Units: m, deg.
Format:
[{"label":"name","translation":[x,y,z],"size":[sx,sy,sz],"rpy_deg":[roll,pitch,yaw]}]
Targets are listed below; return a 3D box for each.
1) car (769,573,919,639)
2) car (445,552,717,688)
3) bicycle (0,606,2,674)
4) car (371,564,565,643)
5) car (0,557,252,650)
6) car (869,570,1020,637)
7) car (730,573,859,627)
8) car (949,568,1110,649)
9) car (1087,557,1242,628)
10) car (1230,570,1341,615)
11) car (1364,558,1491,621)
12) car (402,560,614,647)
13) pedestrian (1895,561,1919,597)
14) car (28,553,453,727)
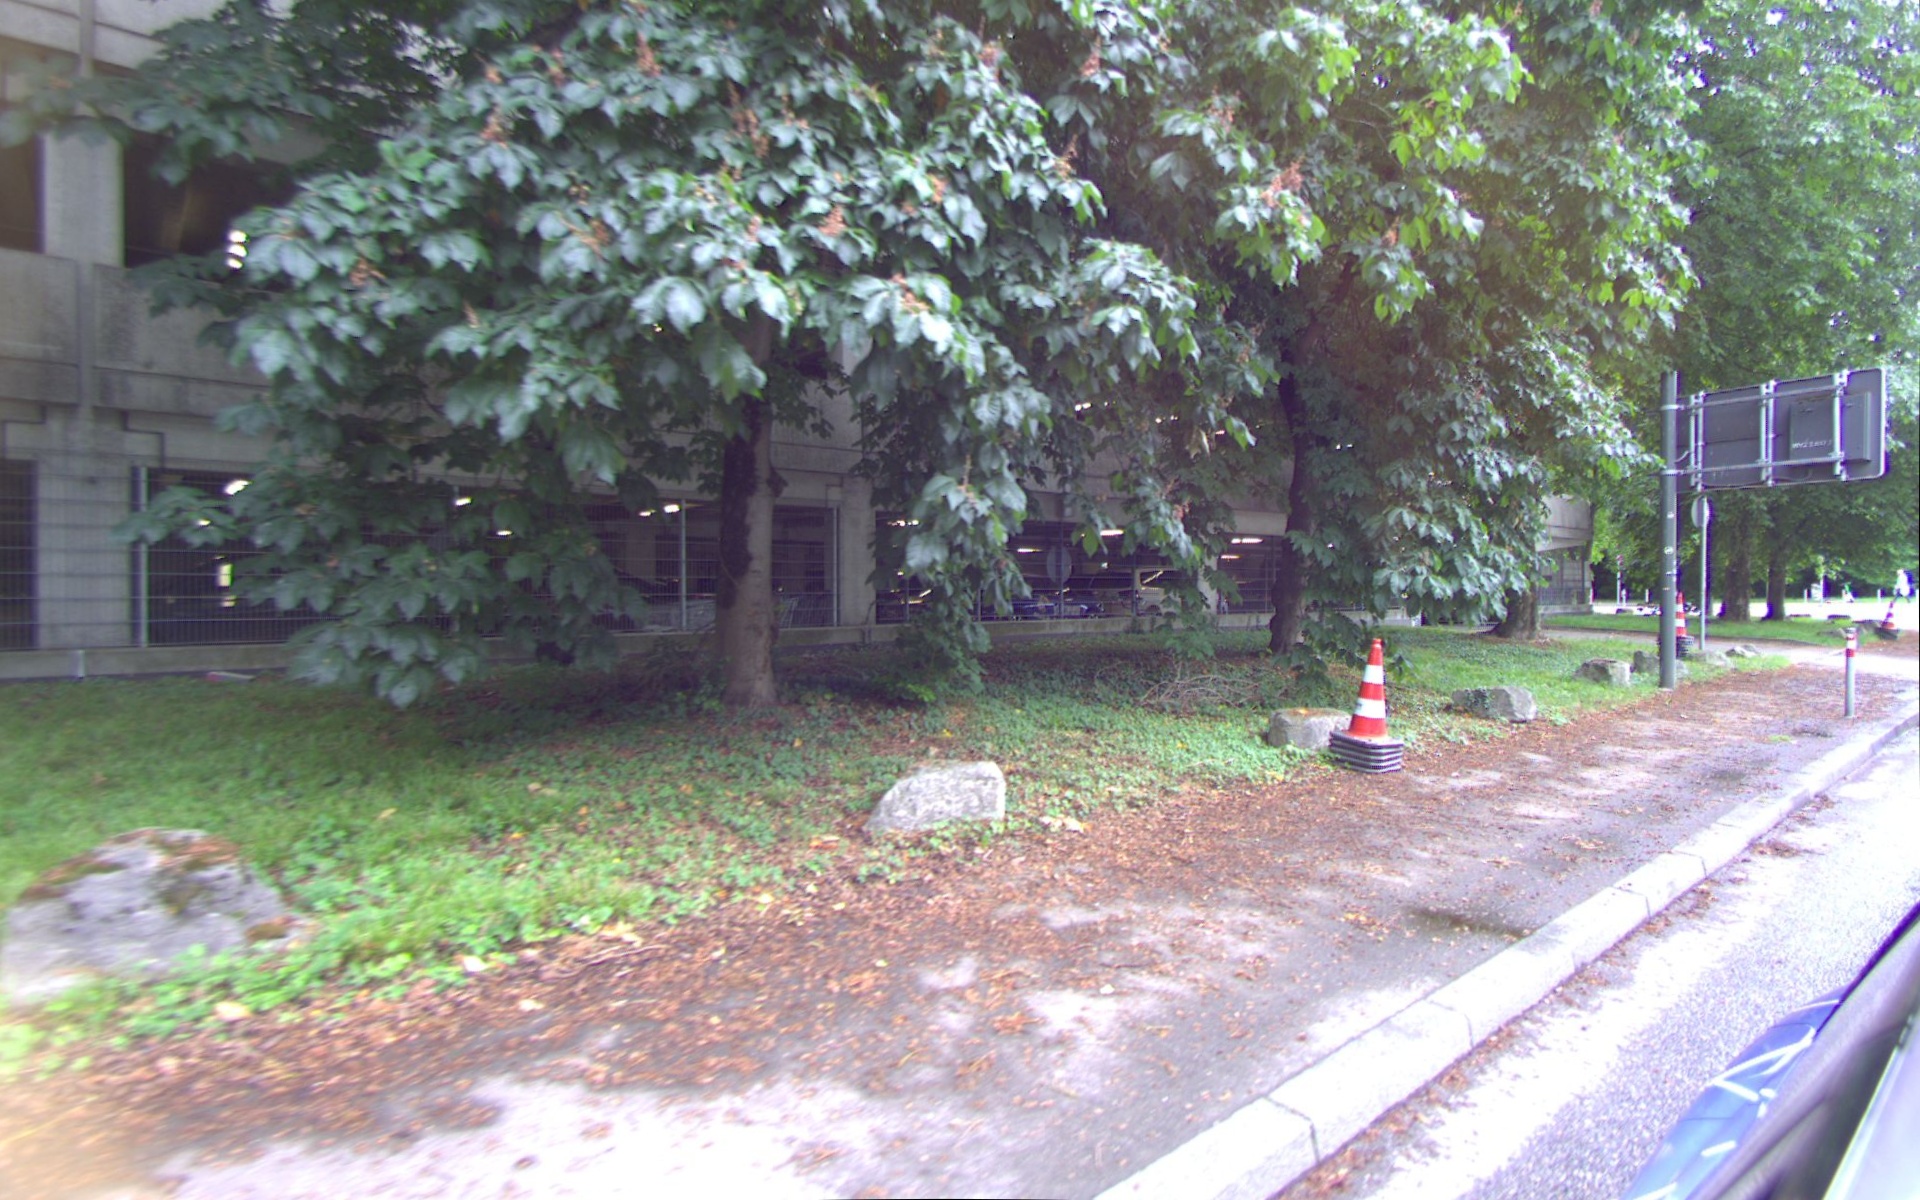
[{"label":"car","translation":[-3.044,0.121,26.901],"size":[3.639,1.565,1.718],"rpy_deg":[-3,1,-42]},{"label":"car","translation":[-6.463,0.253,17.440],"size":[3.930,2.039,1.997],"rpy_deg":[-2,1,-40]},{"label":"bicycle","translation":[-8.396,0.250,7.767],"size":[0.446,0.745,1.474],"rpy_deg":[-1,1,41]},{"label":"car","translation":[-11.164,0.033,23.086],"size":[3.639,1.627,1.718],"rpy_deg":[-3,1,-42]},{"label":"car","translation":[-15.871,0.024,19.083],"size":[3.934,1.587,1.718],"rpy_deg":[-3,1,-42]},{"label":"car","translation":[-0.356,0.048,26.158],"size":[3.639,1.565,1.718],"rpy_deg":[-3,1,-42]},{"label":"car","translation":[-5.212,-0.021,32.100],"size":[3.638,1.565,1.719],"rpy_deg":[-3,1,-41]},{"label":"car","translation":[1.719,0.153,24.155],"size":[3.791,1.729,1.588],"rpy_deg":[-3,1,-41]},{"label":"car","translation":[5.569,-0.243,27.256],"size":[4.587,1.729,1.588],"rpy_deg":[-3,1,-41]},{"label":"car","translation":[11.765,-0.293,36.506],"size":[3.928,1.471,1.876],"rpy_deg":[-2,1,-38]},{"label":"car","translation":[14.859,-0.340,32.039],"size":[4.654,1.858,1.922],"rpy_deg":[-1,0,-41]},{"label":"car","translation":[-9.304,0.025,20.956],"size":[3.639,1.627,1.718],"rpy_deg":[-3,1,-42]},{"label":"pedestrian","translation":[50.361,-1.117,53.494],"size":[0.911,1.856,1.201],"rpy_deg":[-3,1,-37]},{"label":"car","translation":[-9.923,0.417,14.253],"size":[4.594,2.039,1.996],"rpy_deg":[-3,1,-41]}]
